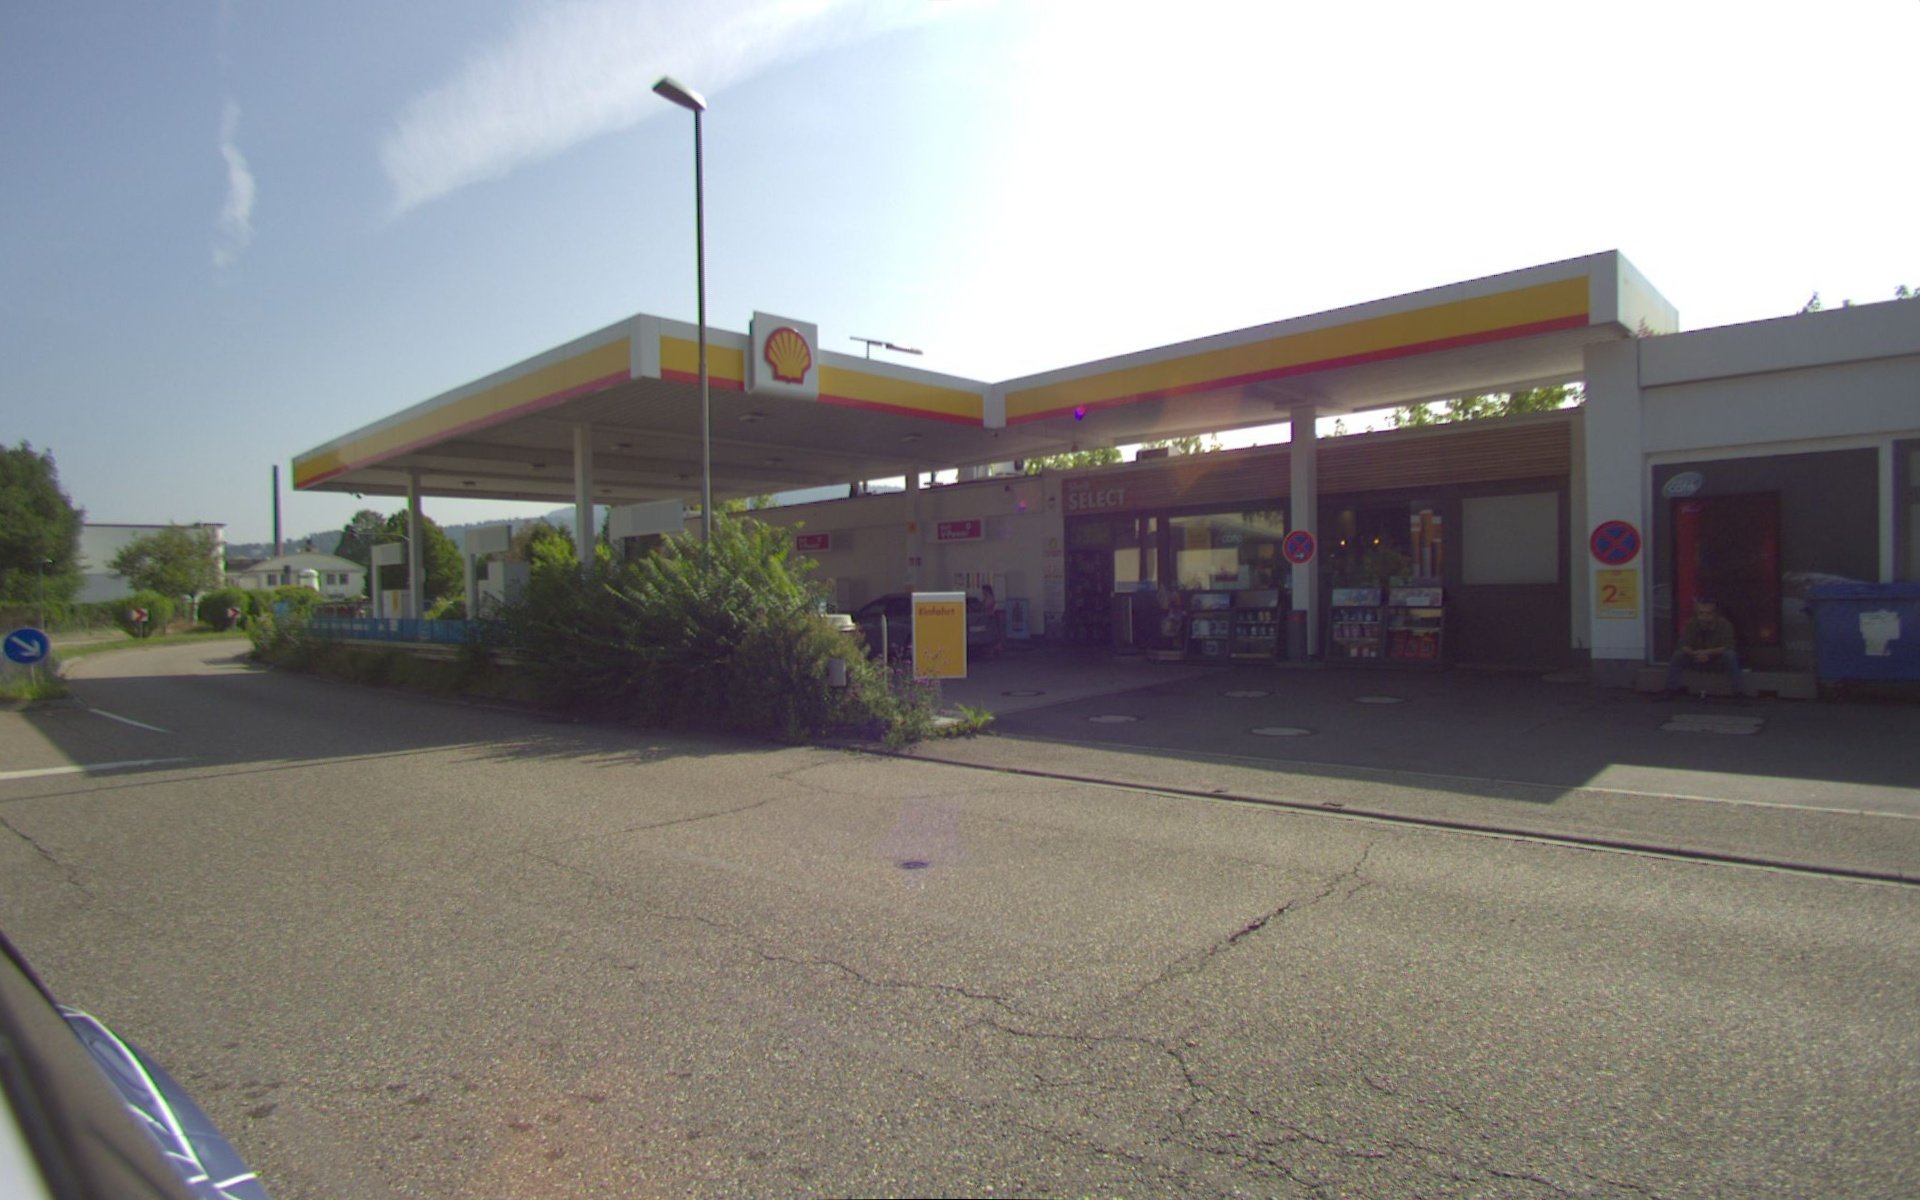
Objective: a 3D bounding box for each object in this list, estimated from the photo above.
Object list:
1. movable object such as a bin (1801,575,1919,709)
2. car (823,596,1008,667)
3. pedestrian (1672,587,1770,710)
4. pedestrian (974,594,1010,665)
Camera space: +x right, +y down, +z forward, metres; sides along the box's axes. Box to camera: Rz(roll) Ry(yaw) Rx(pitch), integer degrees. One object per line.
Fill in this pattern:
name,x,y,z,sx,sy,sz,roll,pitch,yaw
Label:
movable object such as a bin,10.090,0.423,10.936,1.435,1.299,1.227,-1,4,44
car,-1.057,0.644,22.142,4.229,1.422,1.609,-1,0,45
pedestrian,8.583,0.524,11.418,0.816,1.305,0.608,-1,1,43
pedestrian,0.707,0.641,22.325,0.535,1.559,0.552,-1,-1,44
